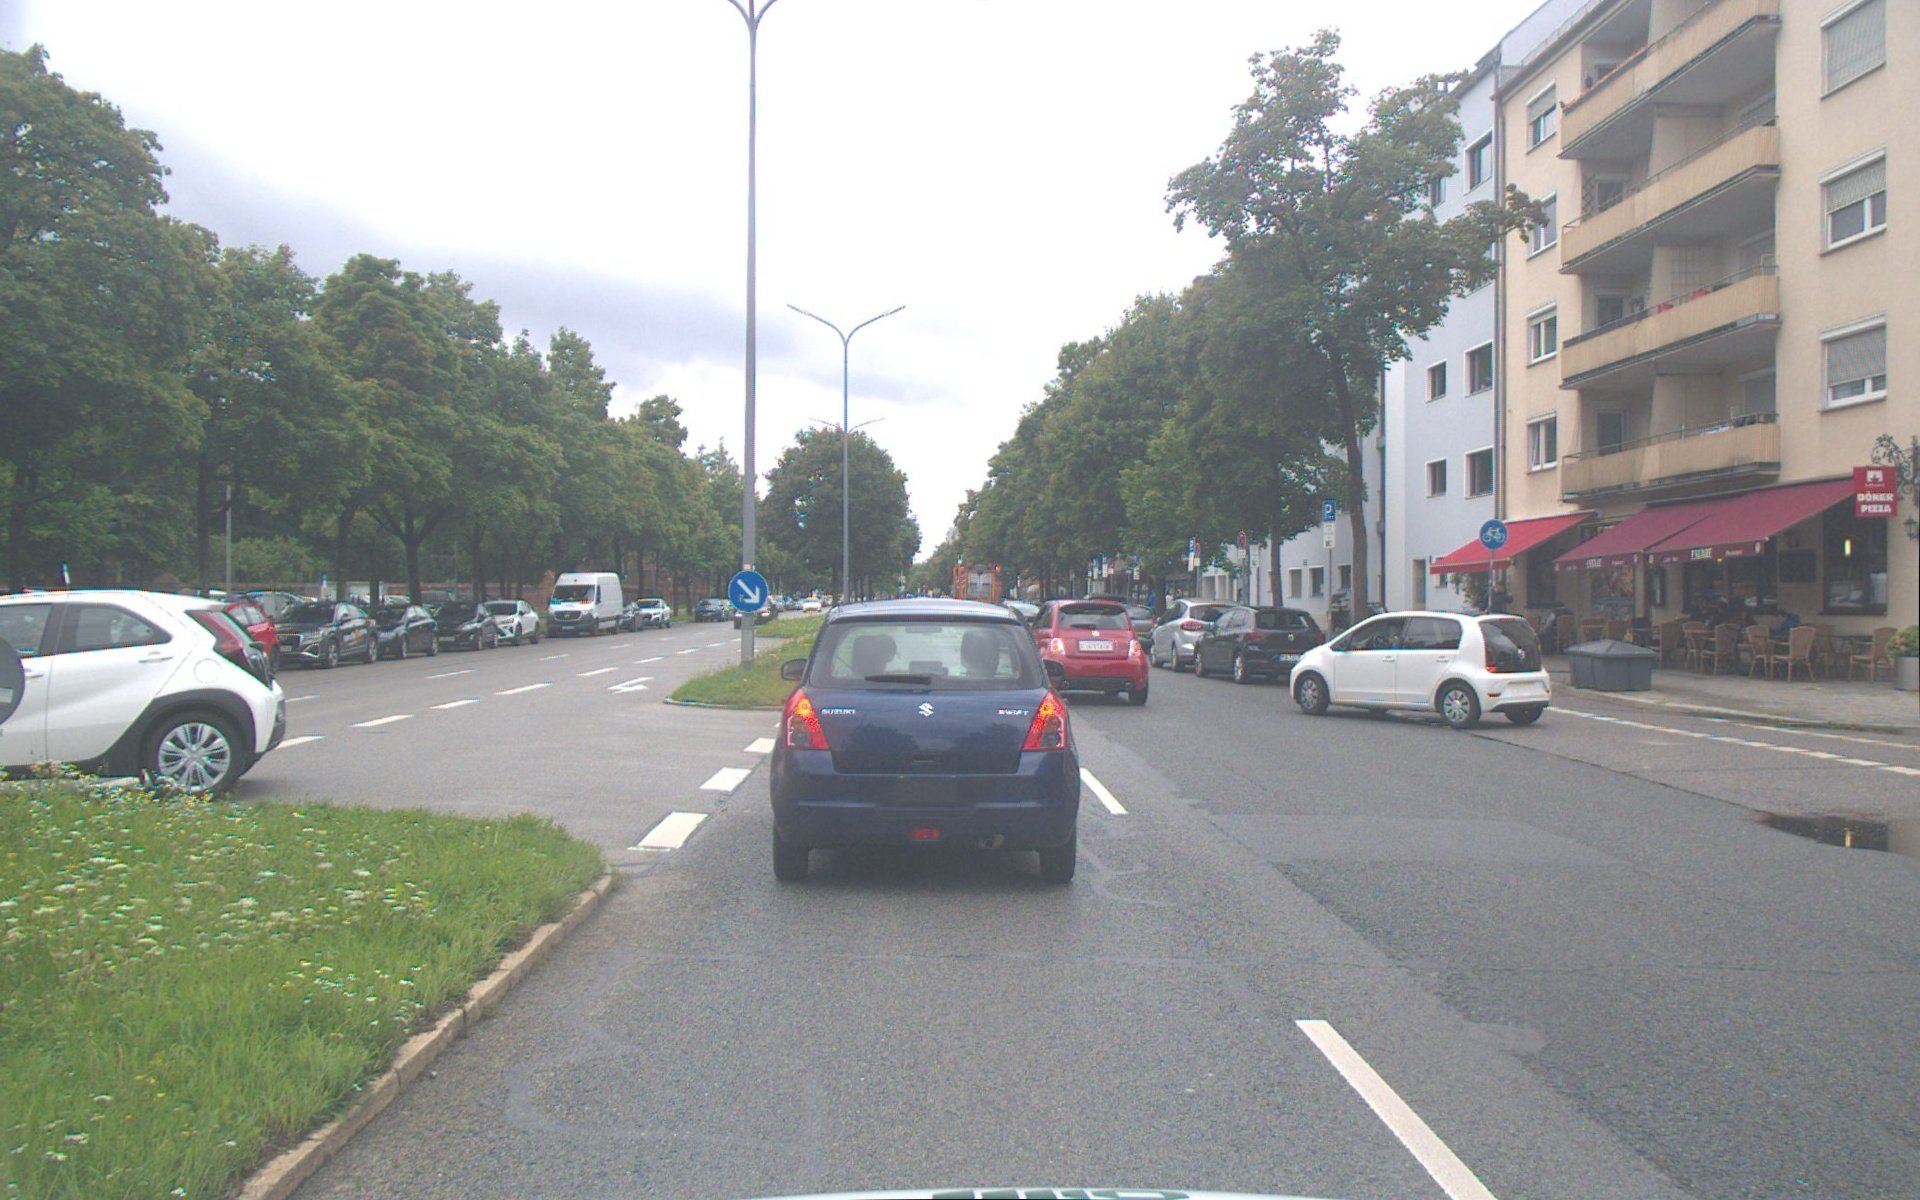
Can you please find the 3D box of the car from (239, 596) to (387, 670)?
[{"bbox_3d":[-14.898,0.718,38.318,1.784,1.627,4.112,0,0,0],"label":"car"}]

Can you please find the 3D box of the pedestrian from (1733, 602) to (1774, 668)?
[{"bbox_3d":[14.887,0.649,31.028,0.527,1.235,0.487,0,0,-1],"label":"pedestrian"}]

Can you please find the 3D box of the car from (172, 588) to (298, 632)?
[{"bbox_3d":[-27.074,0.359,61.817,3.905,1.598,1.814,0,0,0],"label":"car"}]

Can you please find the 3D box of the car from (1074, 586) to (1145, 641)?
[{"bbox_3d":[4.947,0.426,55.339,1.792,1.776,4.506,0,0,-3],"label":"car"}]

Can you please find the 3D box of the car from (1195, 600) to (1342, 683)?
[{"bbox_3d":[5.941,0.762,32.290,1.794,1.499,3.883,0,0,-6],"label":"car"}]

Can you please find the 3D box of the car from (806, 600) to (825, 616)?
[{"bbox_3d":[-14.719,0.806,168.285,1.726,1.564,4.311,-2,0,-4],"label":"car"}]

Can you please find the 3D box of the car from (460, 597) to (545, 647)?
[{"bbox_3d":[-15.335,0.750,55.658,1.785,1.554,4.296,-2,-1,-3],"label":"car"}]

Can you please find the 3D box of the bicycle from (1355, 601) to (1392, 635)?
[{"bbox_3d":[13.795,0.594,55.234,0.609,1.064,2.195,-4,0,-1],"label":"bicycle"}]

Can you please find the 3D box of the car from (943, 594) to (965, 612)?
[{"bbox_3d":[-0.565,0.277,143.002,1.792,1.549,3.769,0,0,-2],"label":"car"}]

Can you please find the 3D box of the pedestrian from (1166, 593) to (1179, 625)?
[{"bbox_3d":[10.934,0.464,85.111,0.538,1.658,0.641,-1,0,-1],"label":"pedestrian"}]

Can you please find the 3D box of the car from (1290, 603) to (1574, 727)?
[{"bbox_3d":[6.304,0.810,22.328,1.675,1.516,3.387,0,0,-38],"label":"car"}]

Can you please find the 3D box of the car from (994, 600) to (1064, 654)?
[{"bbox_3d":[2.053,0.778,50.617,1.785,1.503,4.689,2,0,-2],"label":"car"}]

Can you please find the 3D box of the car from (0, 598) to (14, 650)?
[{"bbox_3d":[-28.599,0.660,45.543,3.911,1.467,1.997,0,0,-7],"label":"car"}]

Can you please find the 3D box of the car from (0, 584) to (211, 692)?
[{"bbox_3d":[-14.722,0.643,28.551,1.785,1.729,4.237,0,-1,-2],"label":"car"}]

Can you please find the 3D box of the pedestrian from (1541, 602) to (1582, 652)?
[{"bbox_3d":[14.206,0.631,39.093,0.728,1.184,0.646,0,0,-2],"label":"pedestrian"}]

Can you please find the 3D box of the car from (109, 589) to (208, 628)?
[{"bbox_3d":[-43.772,0.456,90.357,4.414,2.070,1.999,0,0,-2],"label":"car"}]

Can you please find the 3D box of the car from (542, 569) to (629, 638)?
[{"bbox_3d":[-15.668,0.114,69.610,2.096,2.690,7.104,-1,0,-1],"label":"car"}]

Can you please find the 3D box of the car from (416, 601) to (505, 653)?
[{"bbox_3d":[-15.212,0.804,50.553,1.786,1.473,3.995,-1,0,-6],"label":"car"}]

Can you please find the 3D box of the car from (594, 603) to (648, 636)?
[{"bbox_3d":[-15.907,0.926,77.741,1.820,1.517,4.249,0,-1,-2],"label":"car"}]

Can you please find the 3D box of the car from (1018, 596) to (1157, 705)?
[{"bbox_3d":[1.879,0.713,25.529,1.684,1.527,4.299,1,0,-2],"label":"car"}]

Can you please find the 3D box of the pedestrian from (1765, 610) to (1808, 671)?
[{"bbox_3d":[14.757,0.719,29.541,0.527,1.072,0.487,0,0,-1],"label":"pedestrian"}]

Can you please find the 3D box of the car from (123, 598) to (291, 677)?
[{"bbox_3d":[-15.163,0.742,33.520,1.785,1.505,3.808,0,-1,-3],"label":"car"}]

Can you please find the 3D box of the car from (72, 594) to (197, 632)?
[{"bbox_3d":[-32.282,0.484,64.738,3.911,1.467,1.997,0,0,-7],"label":"car"}]

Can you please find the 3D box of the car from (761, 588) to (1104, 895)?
[{"bbox_3d":[-0.153,0.708,10.305,1.717,1.531,3.999,0,0,-1],"label":"car"}]

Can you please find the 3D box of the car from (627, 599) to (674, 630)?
[{"bbox_3d":[-15.924,0.771,85.282,1.820,1.517,4.140,0,-1,-3],"label":"car"}]

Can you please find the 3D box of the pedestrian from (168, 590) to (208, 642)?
[{"bbox_3d":[-22.682,0.471,48.588,0.778,1.521,0.856,0,0,-1],"label":"pedestrian"}]

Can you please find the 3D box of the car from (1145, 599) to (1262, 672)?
[{"bbox_3d":[5.439,0.756,37.507,1.792,1.549,4.521,0,0,-3],"label":"car"}]

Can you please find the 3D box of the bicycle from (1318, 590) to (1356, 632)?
[{"bbox_3d":[13.554,0.383,59.524,0.688,1.432,2.592,-2,0,-1],"label":"bicycle"}]

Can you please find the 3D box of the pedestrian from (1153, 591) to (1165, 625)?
[{"bbox_3d":[10.259,0.426,85.227,0.489,1.763,0.732,0,0,-1],"label":"pedestrian"}]

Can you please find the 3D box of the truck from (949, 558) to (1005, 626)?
[{"bbox_3d":[0.860,-0.448,95.136,2.979,3.619,13.672,0,0,-1],"label":"truck"}]

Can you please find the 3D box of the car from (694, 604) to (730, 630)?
[{"bbox_3d":[-16.223,1.080,108.371,1.849,1.564,4.312,-2,0,-3],"label":"car"}]

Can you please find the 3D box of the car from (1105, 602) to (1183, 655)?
[{"bbox_3d":[5.529,0.833,50.122,1.792,1.549,3.769,0,0,-3],"label":"car"}]

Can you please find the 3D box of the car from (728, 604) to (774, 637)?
[{"bbox_3d":[-10.033,0.954,79.591,1.779,1.473,4.780,-1,0,-2],"label":"car"}]

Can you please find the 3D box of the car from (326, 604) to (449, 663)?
[{"bbox_3d":[-15.058,0.856,43.712,1.784,1.434,4.000,-2,0,1],"label":"car"}]

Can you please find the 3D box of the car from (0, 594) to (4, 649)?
[{"bbox_3d":[-27.585,0.568,43.176,4.053,1.467,1.999,0,0,-4],"label":"car"}]

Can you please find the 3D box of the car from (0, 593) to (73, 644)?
[{"bbox_3d":[-28.463,0.533,48.390,3.911,1.467,1.997,0,0,-7],"label":"car"}]

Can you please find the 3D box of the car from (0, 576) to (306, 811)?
[{"bbox_3d":[-6.780,0.628,12.003,3.651,1.580,1.818,0,0,-18],"label":"car"}]

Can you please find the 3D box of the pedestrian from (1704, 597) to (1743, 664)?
[{"bbox_3d":[14.811,0.585,32.091,0.527,1.290,0.486,0,0,-2],"label":"pedestrian"}]

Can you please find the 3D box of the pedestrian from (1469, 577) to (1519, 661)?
[{"bbox_3d":[12.601,0.450,39.015,0.854,1.963,0.757,0,0,-17],"label":"pedestrian"}]

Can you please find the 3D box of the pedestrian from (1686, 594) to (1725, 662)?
[{"bbox_3d":[15.010,0.557,33.318,0.527,1.362,0.552,0,0,-2],"label":"pedestrian"}]
